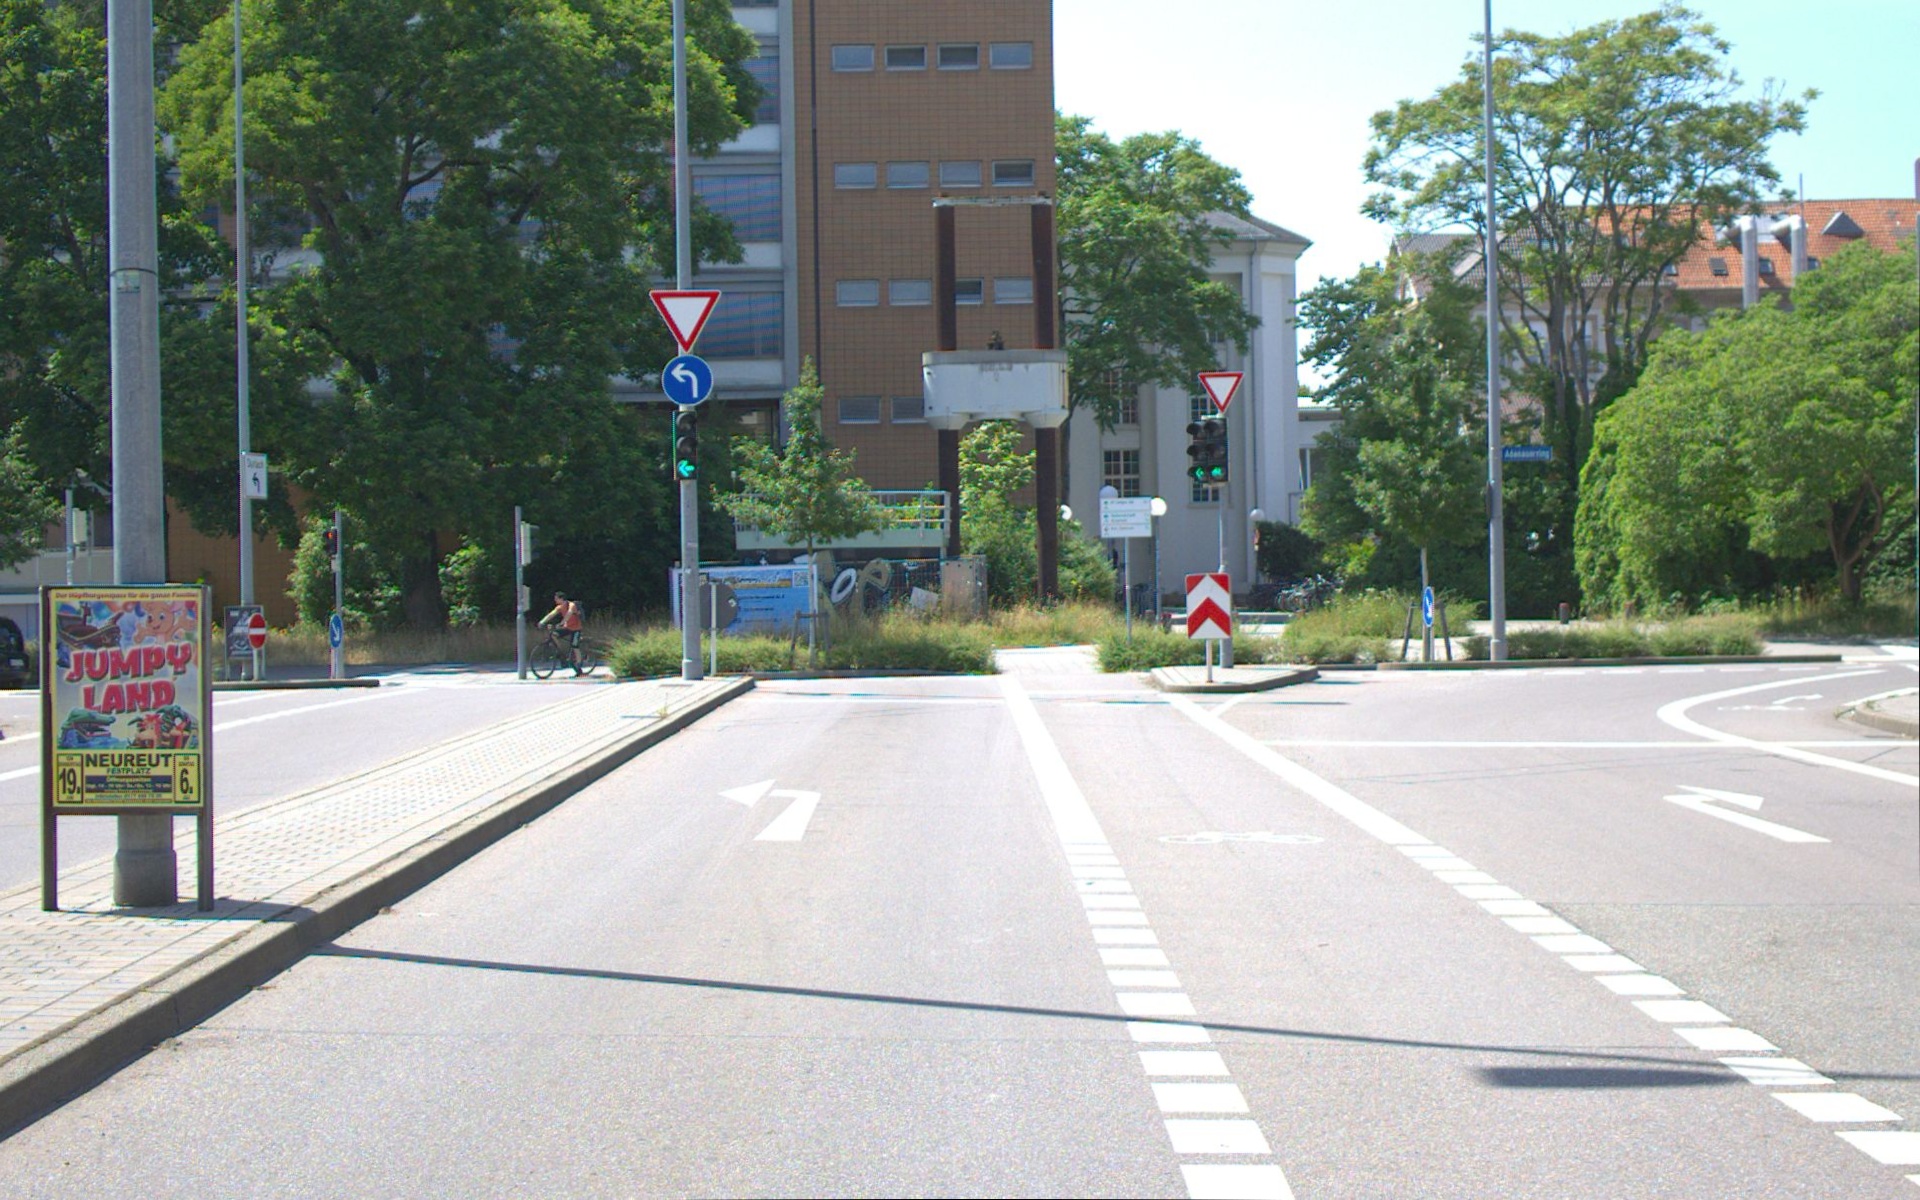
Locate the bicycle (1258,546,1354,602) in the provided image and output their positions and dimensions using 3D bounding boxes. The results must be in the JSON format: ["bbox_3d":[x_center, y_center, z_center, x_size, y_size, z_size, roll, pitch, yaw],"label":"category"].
[{"bbox_3d":[12.780,-0.946,127.047,3.447,2.007,0.760,1,0,2],"label":"bicycle"}]

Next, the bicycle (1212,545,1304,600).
[{"bbox_3d":[11.359,-1.047,131.202,3.447,2.007,0.760,1,0,2],"label":"bicycle"}]

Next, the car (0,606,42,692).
[{"bbox_3d":[-19.224,0.877,64.020,3.764,1.547,1.618,1,0,12],"label":"car"}]

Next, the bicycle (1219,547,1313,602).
[{"bbox_3d":[11.481,-0.953,128.936,3.447,2.007,0.760,1,0,2],"label":"bicycle"}]

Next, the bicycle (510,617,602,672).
[{"bbox_3d":[-8.239,0.899,70.198,0.558,1.042,1.992,1,2,42],"label":"bicycle"}]

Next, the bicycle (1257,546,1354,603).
[{"bbox_3d":[12.643,-0.922,125.880,3.447,2.007,0.760,1,0,2],"label":"bicycle"}]

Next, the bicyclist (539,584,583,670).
[{"bbox_3d":[-8.153,0.546,70.260,0.551,1.710,0.701,1,2,41],"label":"bicyclist"}]
